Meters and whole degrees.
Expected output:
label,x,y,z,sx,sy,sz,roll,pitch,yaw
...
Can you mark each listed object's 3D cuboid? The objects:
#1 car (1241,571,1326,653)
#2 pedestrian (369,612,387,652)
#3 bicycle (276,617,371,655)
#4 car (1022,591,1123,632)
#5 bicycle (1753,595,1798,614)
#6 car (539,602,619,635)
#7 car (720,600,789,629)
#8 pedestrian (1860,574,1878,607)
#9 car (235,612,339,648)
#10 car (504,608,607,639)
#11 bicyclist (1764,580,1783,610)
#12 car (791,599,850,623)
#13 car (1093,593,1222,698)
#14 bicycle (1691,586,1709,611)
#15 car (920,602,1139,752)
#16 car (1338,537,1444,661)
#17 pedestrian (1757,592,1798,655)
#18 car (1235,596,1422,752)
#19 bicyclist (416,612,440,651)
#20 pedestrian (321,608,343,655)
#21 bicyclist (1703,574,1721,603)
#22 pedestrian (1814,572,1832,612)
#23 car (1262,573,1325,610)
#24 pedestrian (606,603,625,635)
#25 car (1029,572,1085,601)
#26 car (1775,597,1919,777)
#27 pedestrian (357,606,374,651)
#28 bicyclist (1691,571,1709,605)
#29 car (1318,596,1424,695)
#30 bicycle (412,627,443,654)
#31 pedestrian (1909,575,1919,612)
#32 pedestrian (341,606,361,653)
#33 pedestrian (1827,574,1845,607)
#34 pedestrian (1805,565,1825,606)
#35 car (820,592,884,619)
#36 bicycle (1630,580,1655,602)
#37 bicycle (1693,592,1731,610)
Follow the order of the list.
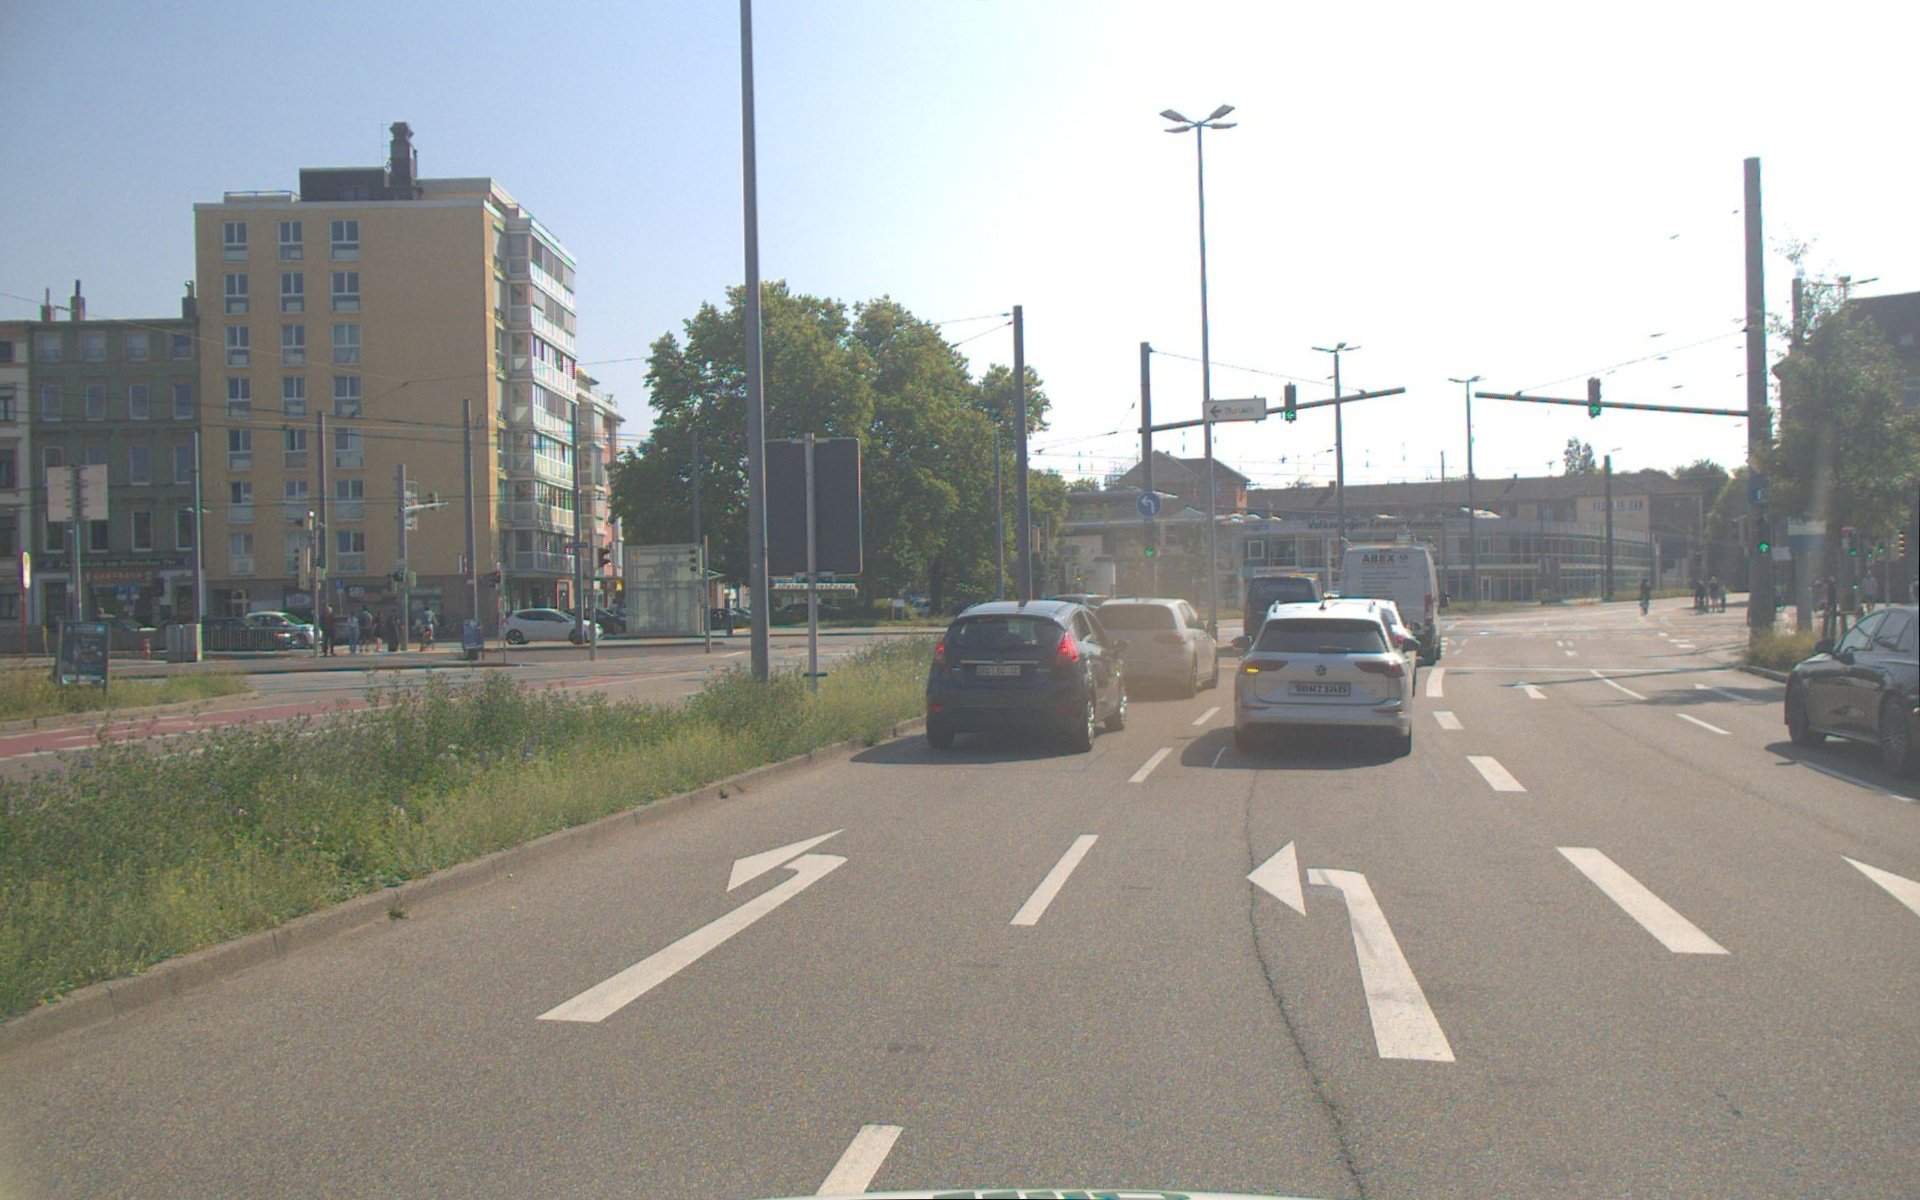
label,x,y,z,sx,sy,sz,roll,pitch,yaw
car,8.634,0.293,43.881,1.980,2.043,4.687,-1,0,14
pedestrian,-22.477,1.228,63.905,0.494,1.513,0.434,-3,3,-39
bicycle,-29.762,1.671,77.375,3.907,1.578,1.195,-1,2,-2
car,4.304,0.451,63.662,1.611,1.528,4.033,0,-1,-38
bicycle,41.796,0.230,84.774,2.013,0.910,0.745,-1,0,30
car,-20.874,1.013,90.737,3.905,1.584,1.869,-1,2,0
car,-12.296,0.858,99.085,3.906,1.585,1.727,-1,0,-1
pedestrian,38.103,-0.404,69.318,0.645,1.384,0.658,0,2,30
car,-28.172,1.240,69.258,3.661,1.417,1.587,-1,0,0
car,-16.285,0.936,66.695,3.752,1.200,1.575,0,0,-2
bicyclist,41.726,-0.256,84.816,0.789,1.486,0.747,-1,0,30
car,-9.546,0.754,113.220,3.906,1.585,1.727,-1,0,-1
car,3.095,0.649,25.377,1.457,1.440,3.651,-1,1,15
bicycle,33.744,-0.072,75.433,0.692,1.080,1.981,-1,0,26
car,0.853,0.737,17.584,1.665,1.392,3.967,-1,0,12
car,9.744,-0.001,37.391,2.142,2.594,4.687,-1,-1,15
pedestrian,18.277,0.522,36.978,0.622,1.386,0.634,-1,0,9
car,3.766,0.693,16.925,1.649,1.412,3.637,-1,-1,13
bicyclist,-20.390,1.194,63.364,0.711,1.459,0.689,-1,0,-4
pedestrian,-23.555,1.174,62.038,0.445,1.714,0.547,0,2,24
bicyclist,40.038,-0.615,88.046,0.789,1.524,0.747,-1,0,29
pedestrian,44.990,-0.427,86.219,0.732,2.049,0.806,-1,0,26
car,19.311,-0.506,95.563,1.958,2.049,4.651,-1,0,33
pedestrian,-17.764,0.975,85.252,0.833,1.649,0.541,-1,0,-4
car,7.221,-1.021,122.489,3.901,2.048,2.002,-1,2,10
car,9.132,0.707,15.245,1.781,1.465,4.878,0,0,12
pedestrian,-22.860,1.093,63.552,0.451,1.714,0.434,-3,3,-39
bicyclist,33.754,-0.553,75.483,0.698,1.556,0.806,-1,0,26
car,6.359,0.669,25.781,1.457,1.427,3.945,-1,0,13
bicycle,-20.381,1.537,63.351,0.713,1.001,1.730,-1,0,-4
pedestrian,37.446,-0.255,64.614,0.645,1.384,0.658,0,2,30
pedestrian,-22.993,1.107,62.475,0.445,1.714,0.548,-1,2,12
pedestrian,37.557,-0.399,70.933,0.645,1.384,0.658,0,2,30
pedestrian,41.289,-0.697,79.852,0.788,1.922,0.748,-1,0,26
car,-6.794,0.367,104.005,3.906,1.585,1.727,-1,0,-1
bicycle,31.728,-0.432,76.889,0.757,0.993,2.145,-1,0,30
bicycle,40.049,0.041,88.043,1.764,0.900,0.760,-1,0,30
